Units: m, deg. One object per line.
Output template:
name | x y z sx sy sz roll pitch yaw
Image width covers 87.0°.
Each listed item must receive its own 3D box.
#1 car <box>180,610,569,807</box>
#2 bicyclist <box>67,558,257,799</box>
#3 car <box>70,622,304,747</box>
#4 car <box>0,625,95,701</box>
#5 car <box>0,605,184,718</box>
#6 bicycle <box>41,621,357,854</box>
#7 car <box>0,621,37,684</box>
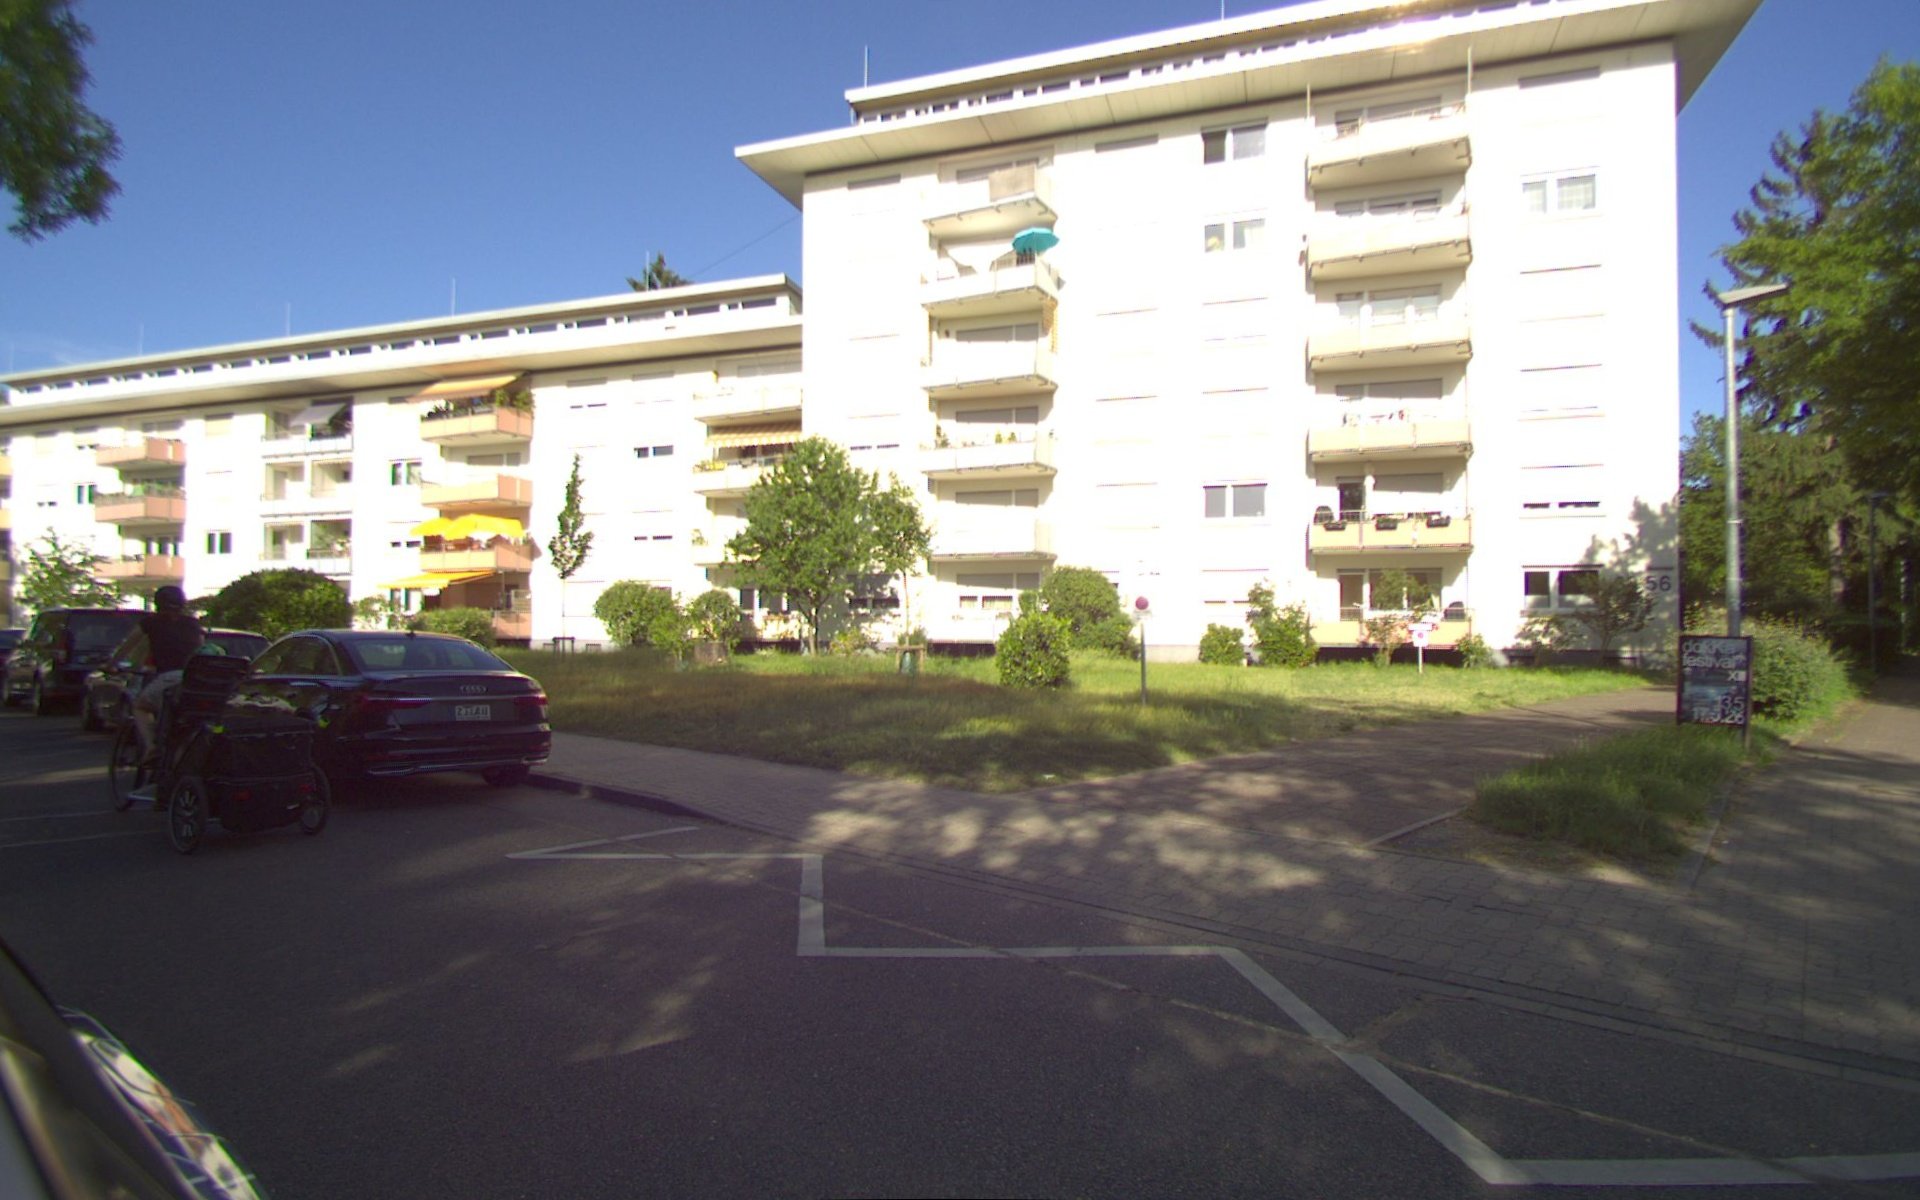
car | -5.775 0.876 9.719 4.677 1.475 1.710 -2 -2 39
bicyclist | -6.037 0.543 7.662 1.062 1.670 0.838 -1 0 34
car | -10.764 1.053 13.996 4.016 1.465 1.820 -1 -2 41
car | -20.640 1.314 22.054 4.569 1.493 1.822 -1 -3 38
car | -15.904 1.015 18.358 4.883 1.794 1.822 -1 -2 39
bicycle | -5.625 0.853 7.369 3.212 1.381 0.844 -1 0 34
car | -25.019 1.288 25.461 4.793 1.493 1.823 -1 -1 37
